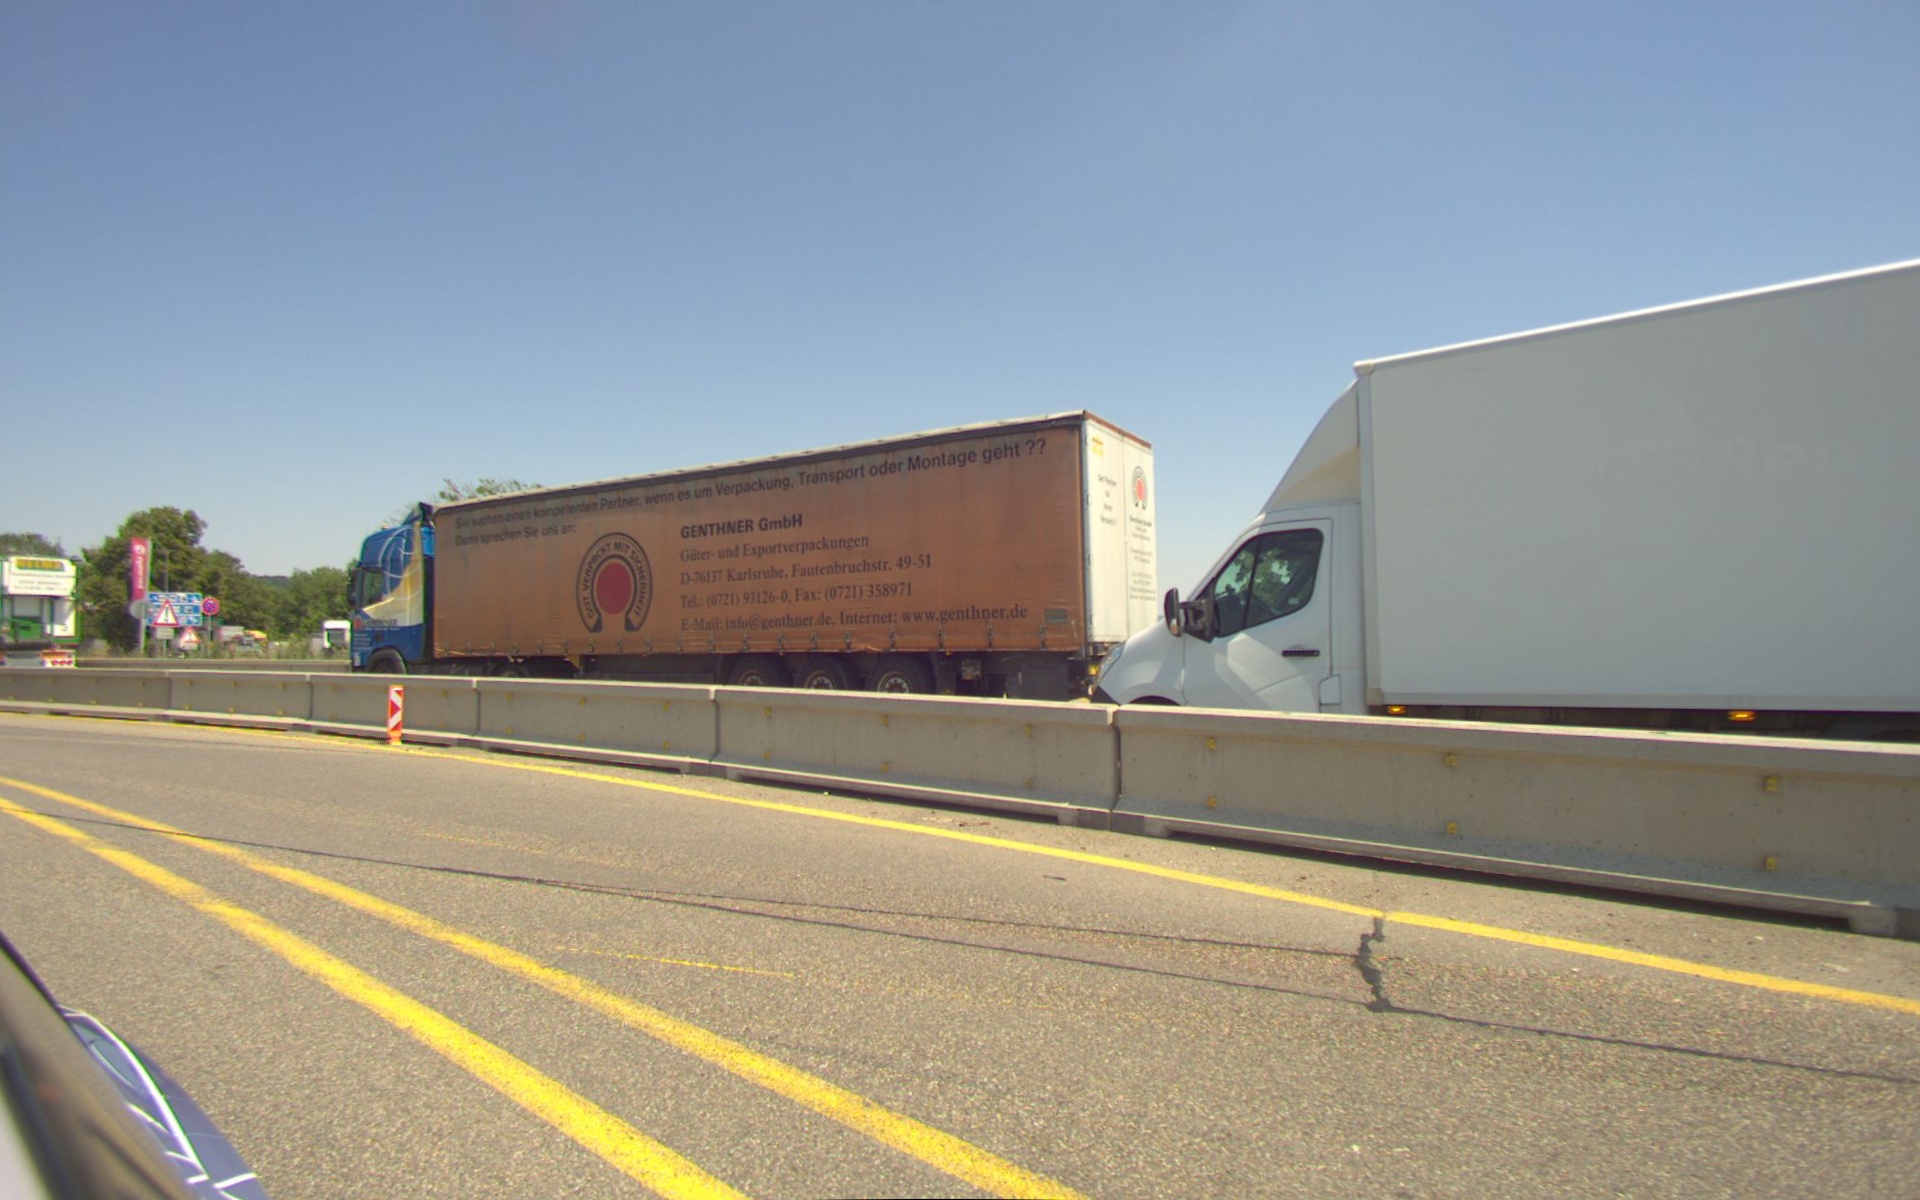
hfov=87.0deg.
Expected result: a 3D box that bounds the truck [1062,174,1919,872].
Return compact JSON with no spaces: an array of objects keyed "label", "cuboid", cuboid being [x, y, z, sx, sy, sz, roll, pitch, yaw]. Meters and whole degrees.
[{"label":"truck","cuboid":[4.303,-0.338,6.923,6.921,3.407,2.553,-2,-1,40]}]

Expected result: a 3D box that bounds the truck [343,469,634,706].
[{"label":"truck","cuboid":[-9.383,-0.158,20.053,5.522,4.112,2.527,-1,-1,30]}]

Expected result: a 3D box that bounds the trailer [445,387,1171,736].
[{"label":"trailer","cuboid":[-3.277,-0.329,16.536,13.012,4.183,2.569,-1,-1,30]}]

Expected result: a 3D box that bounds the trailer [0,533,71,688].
[{"label":"trailer","cuboid":[-31.303,0.398,30.283,12.427,4.183,2.341,-1,-1,25]}]
